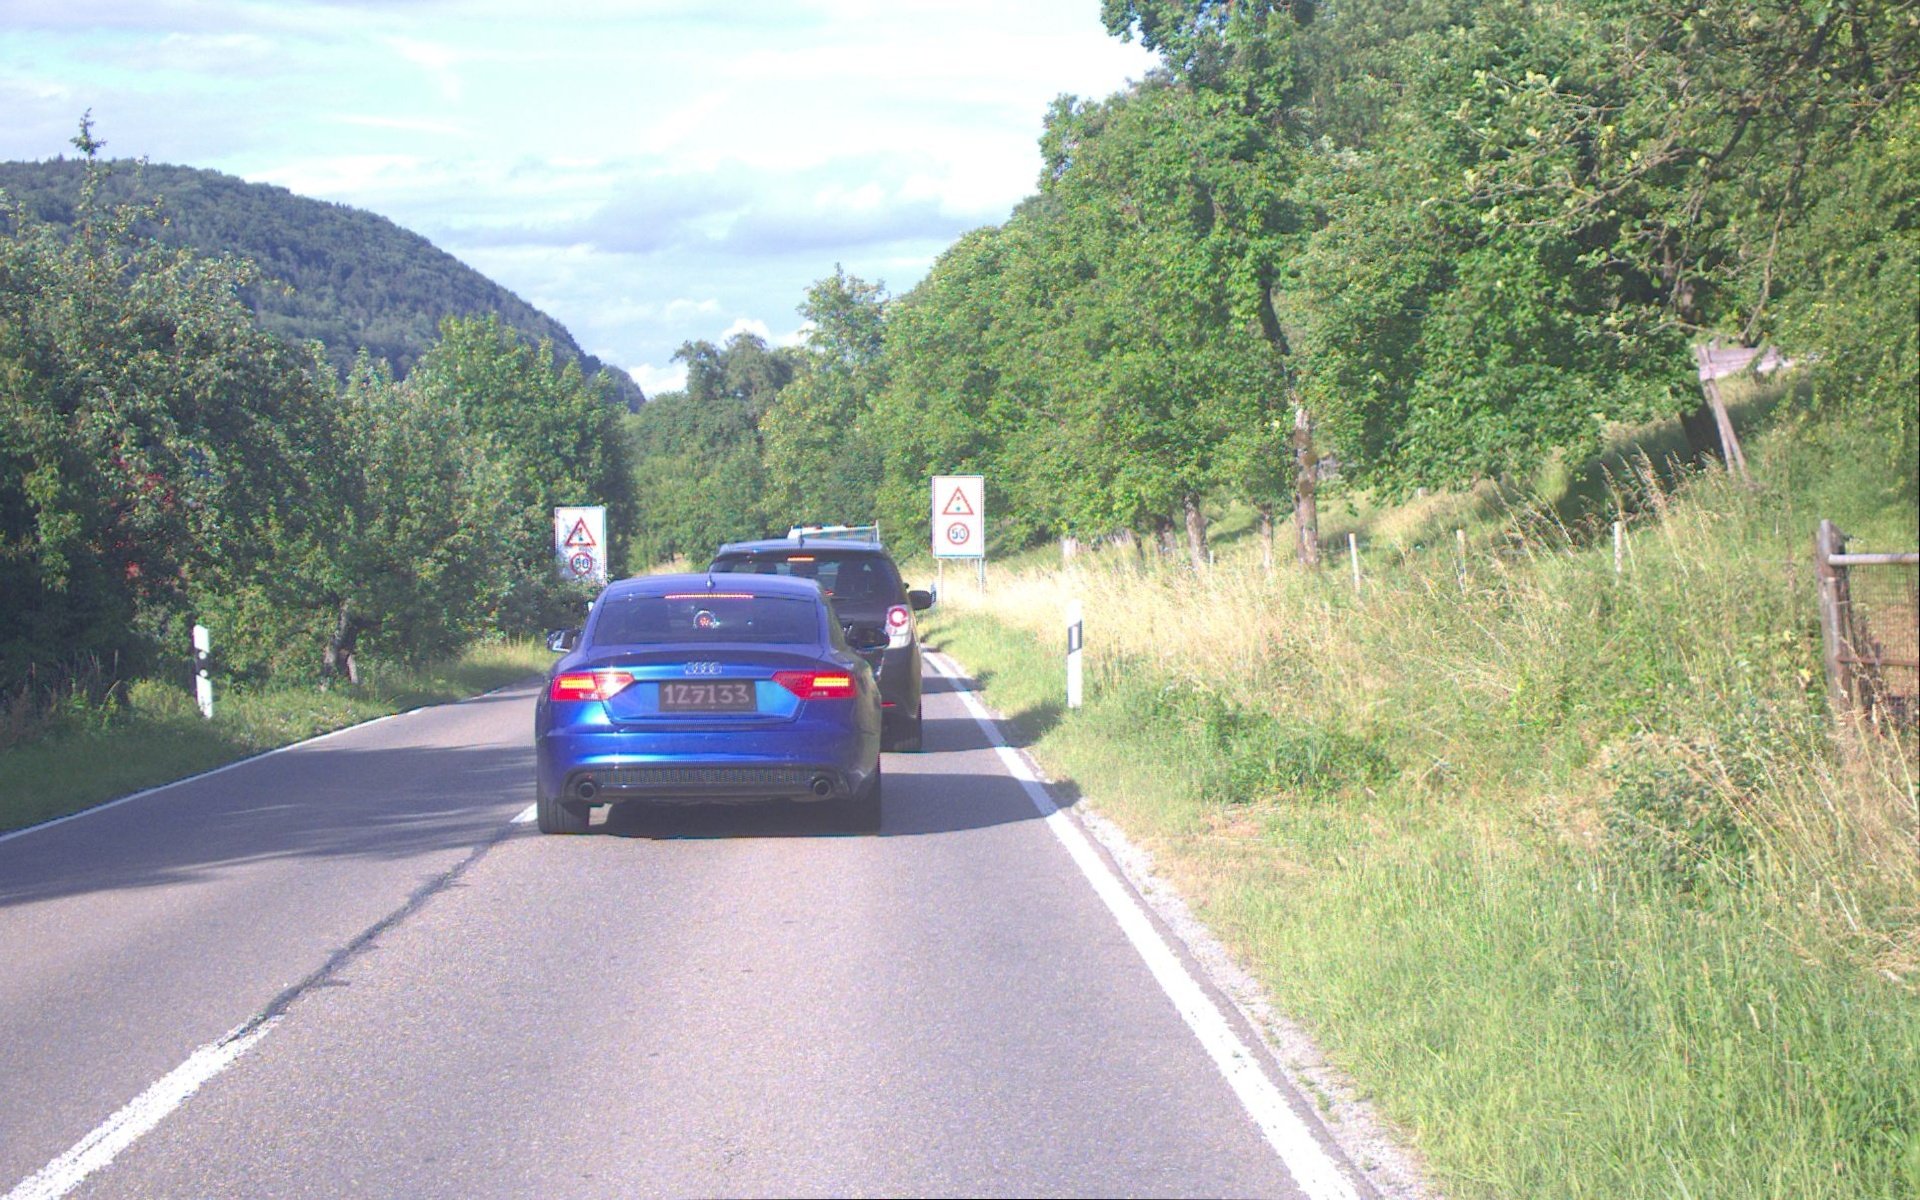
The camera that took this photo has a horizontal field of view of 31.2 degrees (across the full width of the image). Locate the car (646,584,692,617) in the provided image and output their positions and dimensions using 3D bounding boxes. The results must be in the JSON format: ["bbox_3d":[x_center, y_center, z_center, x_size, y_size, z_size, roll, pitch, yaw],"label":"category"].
[{"bbox_3d":[-13.811,0.035,163.139,1.558,1.491,3.779,1,1,-14],"label":"car"}]

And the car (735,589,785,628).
[{"bbox_3d":[-8.081,0.319,138.946,1.558,1.491,3.779,1,1,-10],"label":"car"}]

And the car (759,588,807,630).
[{"bbox_3d":[-6.594,0.329,128.051,1.558,1.491,3.779,1,1,-6],"label":"car"}]

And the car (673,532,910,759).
[{"bbox_3d":[-1.282,0.300,26.704,1.692,1.618,3.789,-1,1,-2],"label":"car"}]

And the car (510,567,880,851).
[{"bbox_3d":[-1.364,0.523,19.072,1.805,1.377,4.215,-1,0,-2],"label":"car"}]

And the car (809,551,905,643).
[{"bbox_3d":[-1.894,-0.082,62.884,1.692,1.618,3.789,-1,1,-2],"label":"car"}]

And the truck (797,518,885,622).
[{"bbox_3d":[-2.803,-0.704,80.036,1.949,2.337,5.094,1,1,-3],"label":"truck"}]

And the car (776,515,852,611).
[{"bbox_3d":[-3.853,-0.981,90.360,1.792,2.445,3.920,1,1,-5],"label":"car"}]
